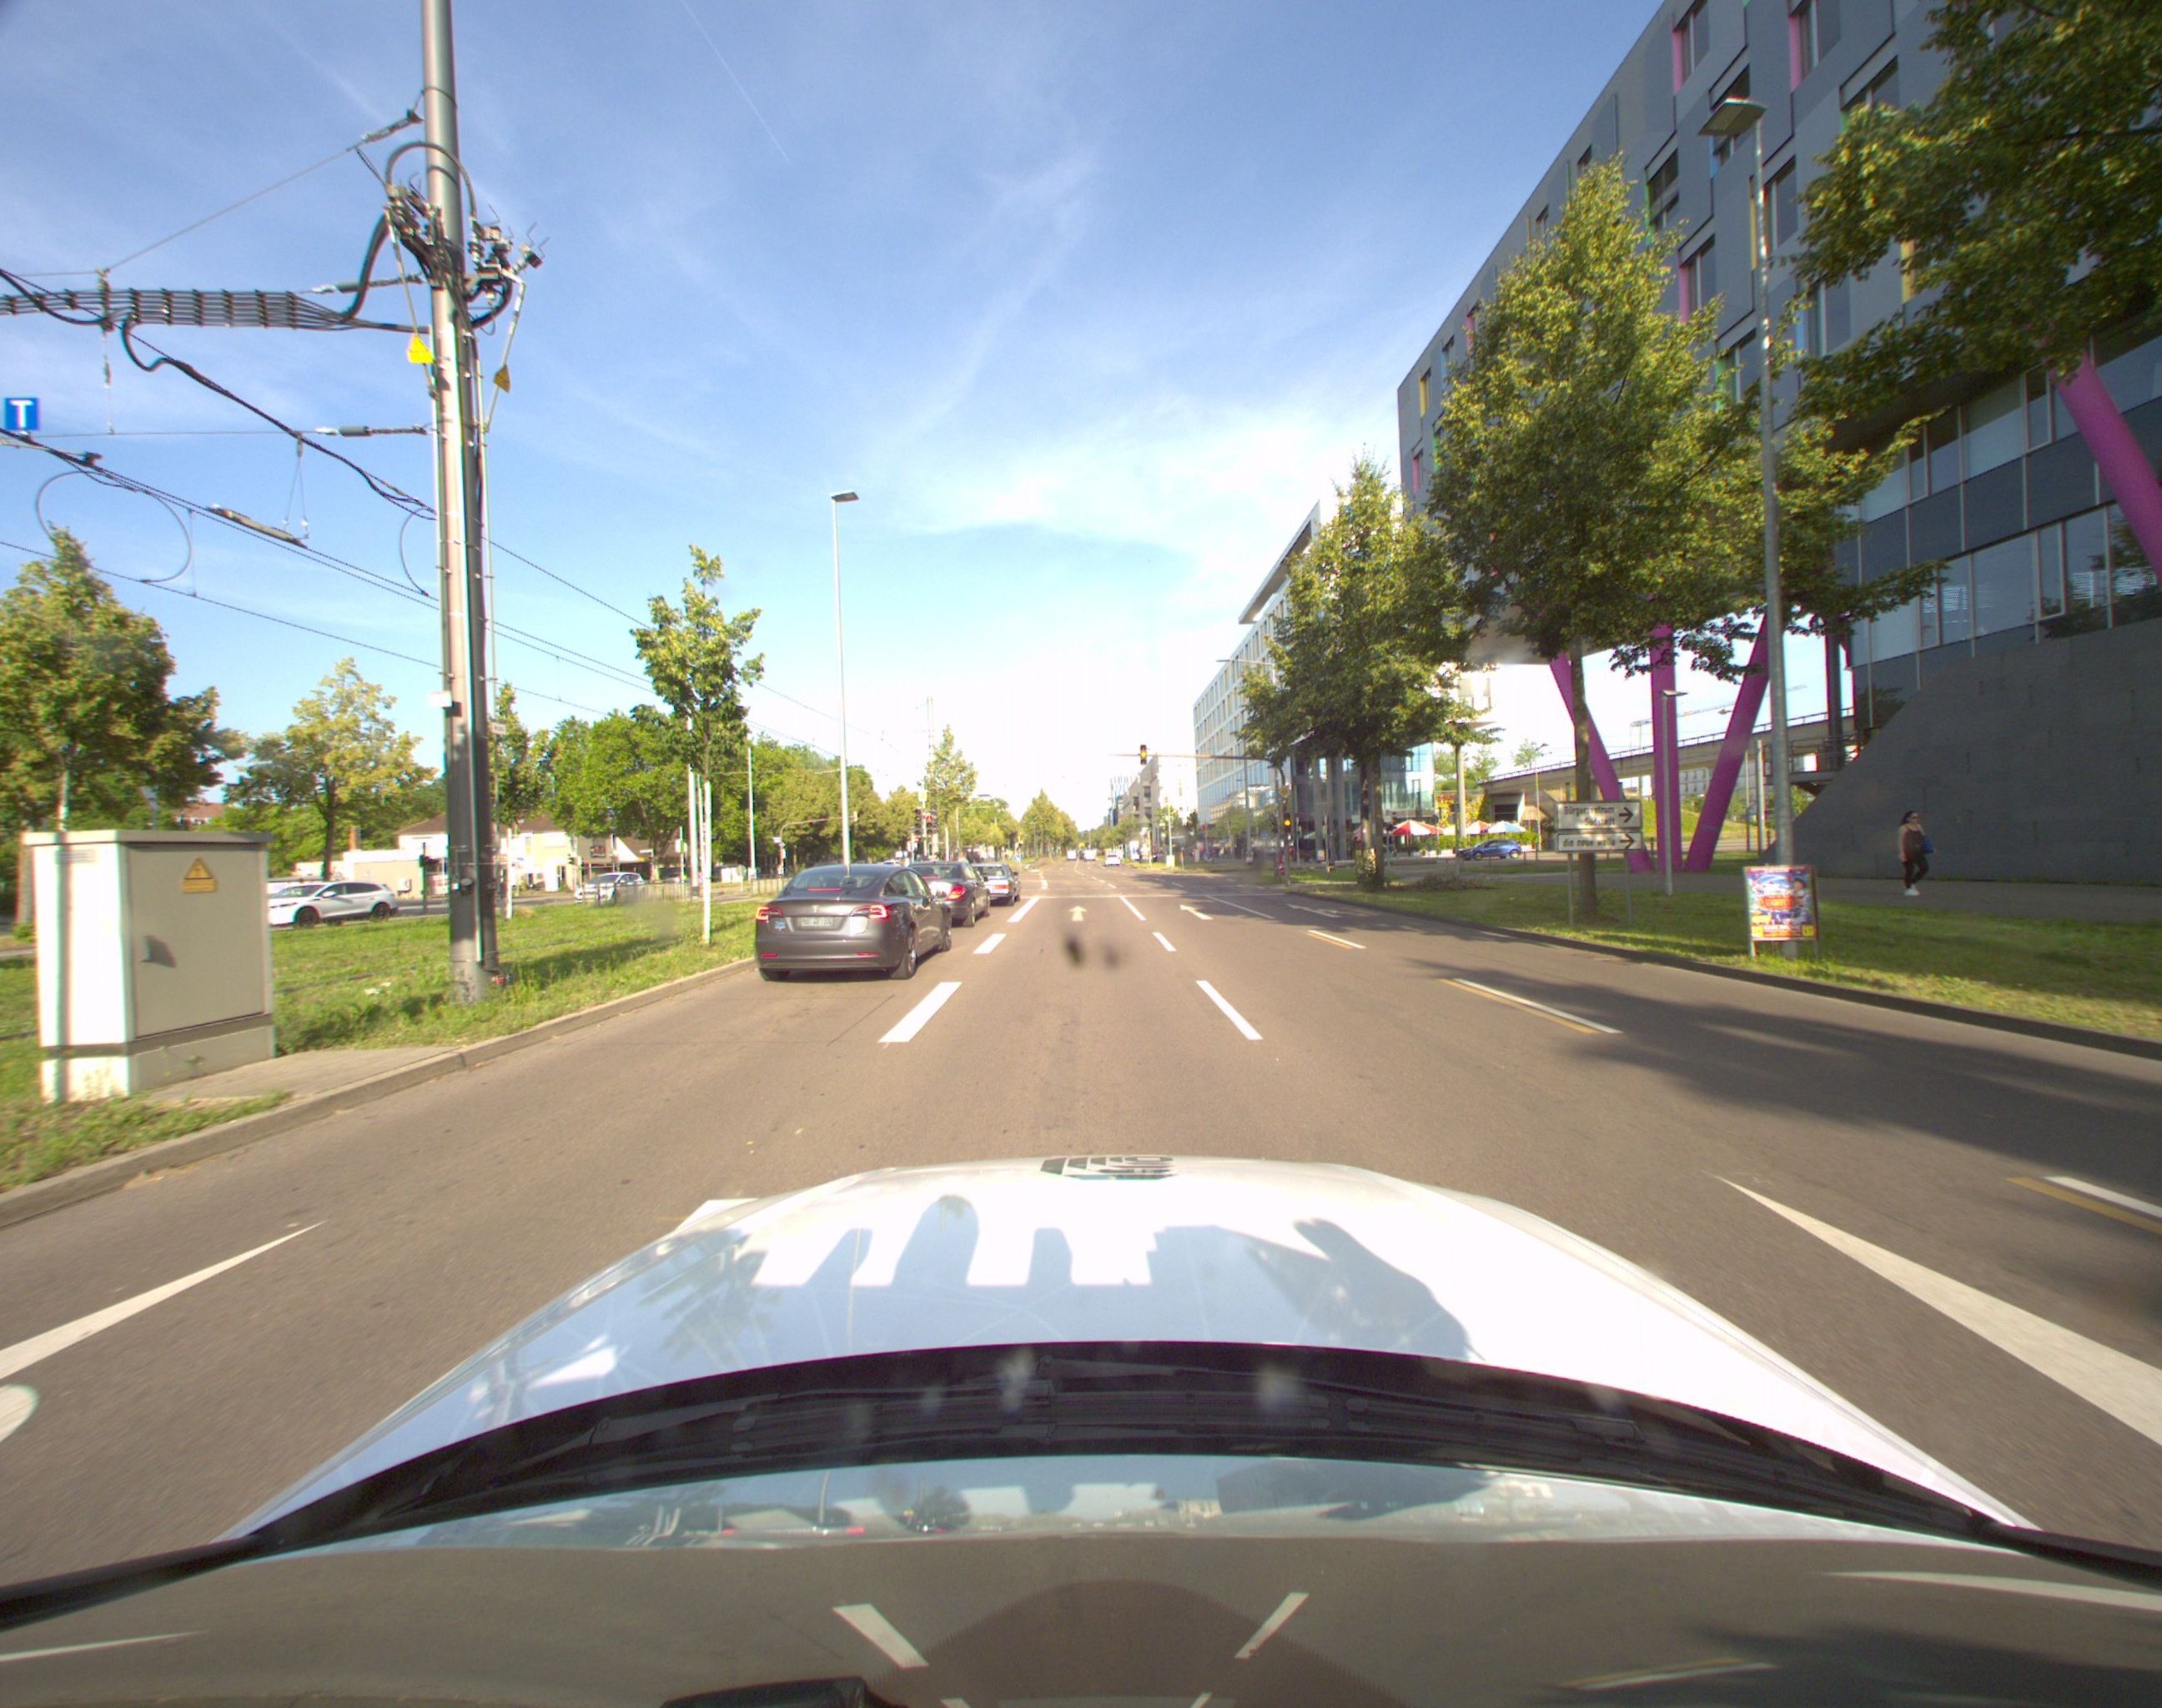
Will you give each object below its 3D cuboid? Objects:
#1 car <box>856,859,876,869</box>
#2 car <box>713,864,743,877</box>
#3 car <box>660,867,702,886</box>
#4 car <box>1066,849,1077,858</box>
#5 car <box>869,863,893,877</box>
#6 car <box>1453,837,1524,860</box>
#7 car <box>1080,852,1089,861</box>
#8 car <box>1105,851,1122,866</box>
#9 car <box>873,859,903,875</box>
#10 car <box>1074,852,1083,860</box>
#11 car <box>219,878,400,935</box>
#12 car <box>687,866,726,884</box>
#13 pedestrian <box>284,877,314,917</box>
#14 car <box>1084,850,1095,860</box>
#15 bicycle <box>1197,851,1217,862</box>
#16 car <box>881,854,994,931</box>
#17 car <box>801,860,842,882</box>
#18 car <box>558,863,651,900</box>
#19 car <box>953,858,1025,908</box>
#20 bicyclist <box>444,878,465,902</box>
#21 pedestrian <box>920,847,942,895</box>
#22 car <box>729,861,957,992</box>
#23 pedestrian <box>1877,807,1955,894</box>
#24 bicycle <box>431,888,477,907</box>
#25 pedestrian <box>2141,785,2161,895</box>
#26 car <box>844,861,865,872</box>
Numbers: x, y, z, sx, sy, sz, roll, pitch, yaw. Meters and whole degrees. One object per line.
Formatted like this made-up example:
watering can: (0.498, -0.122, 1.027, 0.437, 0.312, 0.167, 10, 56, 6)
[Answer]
car: (-35.529, 1.700, 134.814, 1.872, 1.559, 4.006, -2, 0, 5)
car: (-46.330, 2.143, 106.969, 1.872, 1.559, 4.006, -2, 0, 5)
car: (-39.952, 2.224, 81.468, 1.872, 1.750, 4.006, -2, 0, 5)
car: (-1.748, -0.054, 156.276, 2.008, 1.684, 4.000, 0, 1, 1)
car: (-24.896, 1.950, 101.573, 1.870, 1.528, 4.224, -2, 1, 1)
car: (29.324, -0.426, 58.648, 4.172, 1.424, 1.858, -3, 0, -1)
car: (0.751, 0.489, 167.309, 1.917, 1.684, 4.000, 0, 1, 1)
car: (3.734, 0.551, 94.841, 1.858, 1.684, 4.000, 0, 1, 1)
car: (-18.936, 1.297, 80.061, 1.987, 1.504, 4.092, -2, -1, 0)
car: (-0.623, 0.423, 181.596, 1.918, 1.684, 3.998, 0, 1, -1)
car: (-26.178, 1.722, 27.906, 1.899, 1.528, 4.441, -2, 1, 0)
car: (-39.587, 2.173, 86.230, 1.872, 1.750, 4.006, -2, 0, 5)
pedestrian: (-42.194, 2.312, 43.944, 0.715, 2.107, 0.887, -4, 0, 29)
car: (1.536, 0.124, 140.573, 1.858, 1.684, 4.000, 0, 1, 1)
bicycle: (12.268, 0.237, 79.514, 0.778, 1.032, 1.856, -2, 2, -44)
car: (-3.120, 0.776, 18.562, 1.781, 1.479, 4.353, 0, 1, 0)
car: (-22.459, 1.462, 70.678, 1.988, 1.684, 4.993, -2, 1, -1)
car: (-22.953, 1.290, 39.423, 1.988, 1.528, 4.309, -2, 1, -2)
car: (-2.746, 0.834, 25.129, 1.758, 1.330, 4.398, 0, 1, -1)
bicyclist: (-39.608, 2.273, 51.473, 0.851, 1.493, 0.694, -2, 0, -23)
pedestrian: (-5.690, 0.635, 30.994, 0.697, 1.792, 0.635, -1, 0, 0)
car: (-3.002, 0.832, 11.335, 1.884, 1.385, 4.334, 0, 1, 0)
pedestrian: (16.542, -0.062, 16.153, 0.692, 1.638, 0.736, -4, 0, -1)
bicycle: (-39.602, 2.738, 51.464, 2.205, 1.041, 0.694, -2, 0, -23)
pedestrian: (18.073, -0.254, 13.133, 0.752, 1.793, 0.843, -4, 0, -1)
car: (-36.036, 2.011, 129.729, 1.872, 1.559, 4.006, -2, 0, 5)
